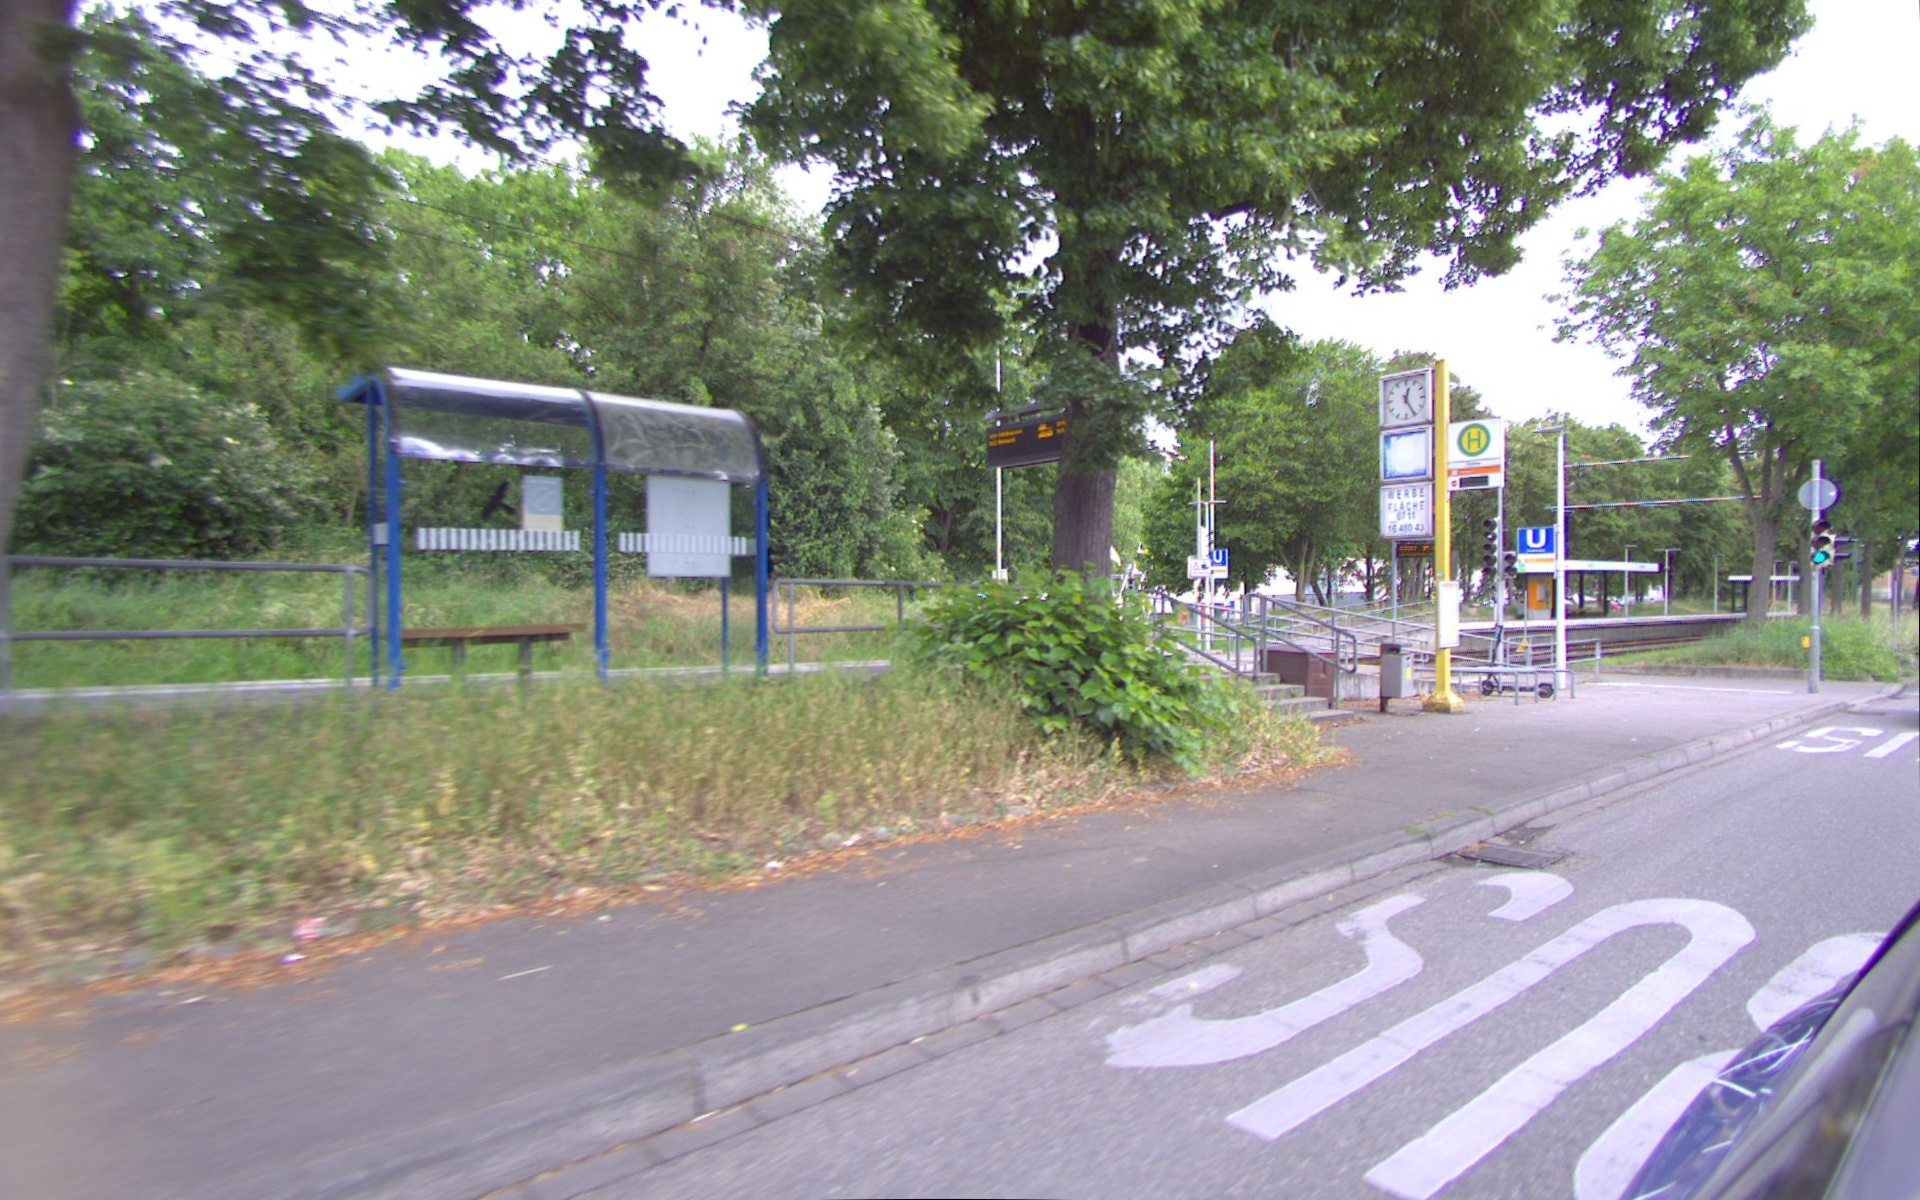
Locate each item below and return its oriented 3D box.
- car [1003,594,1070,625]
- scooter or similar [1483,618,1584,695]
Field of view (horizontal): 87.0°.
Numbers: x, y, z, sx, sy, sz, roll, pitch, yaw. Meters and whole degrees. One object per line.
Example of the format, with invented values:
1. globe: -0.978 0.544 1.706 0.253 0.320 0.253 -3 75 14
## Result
1. car: 6.212 0.764 81.929 5.705 2.414 1.997 1 -1 -41
2. scooter or similar: 9.707 0.938 17.175 1.444 1.259 0.480 -1 -1 29
